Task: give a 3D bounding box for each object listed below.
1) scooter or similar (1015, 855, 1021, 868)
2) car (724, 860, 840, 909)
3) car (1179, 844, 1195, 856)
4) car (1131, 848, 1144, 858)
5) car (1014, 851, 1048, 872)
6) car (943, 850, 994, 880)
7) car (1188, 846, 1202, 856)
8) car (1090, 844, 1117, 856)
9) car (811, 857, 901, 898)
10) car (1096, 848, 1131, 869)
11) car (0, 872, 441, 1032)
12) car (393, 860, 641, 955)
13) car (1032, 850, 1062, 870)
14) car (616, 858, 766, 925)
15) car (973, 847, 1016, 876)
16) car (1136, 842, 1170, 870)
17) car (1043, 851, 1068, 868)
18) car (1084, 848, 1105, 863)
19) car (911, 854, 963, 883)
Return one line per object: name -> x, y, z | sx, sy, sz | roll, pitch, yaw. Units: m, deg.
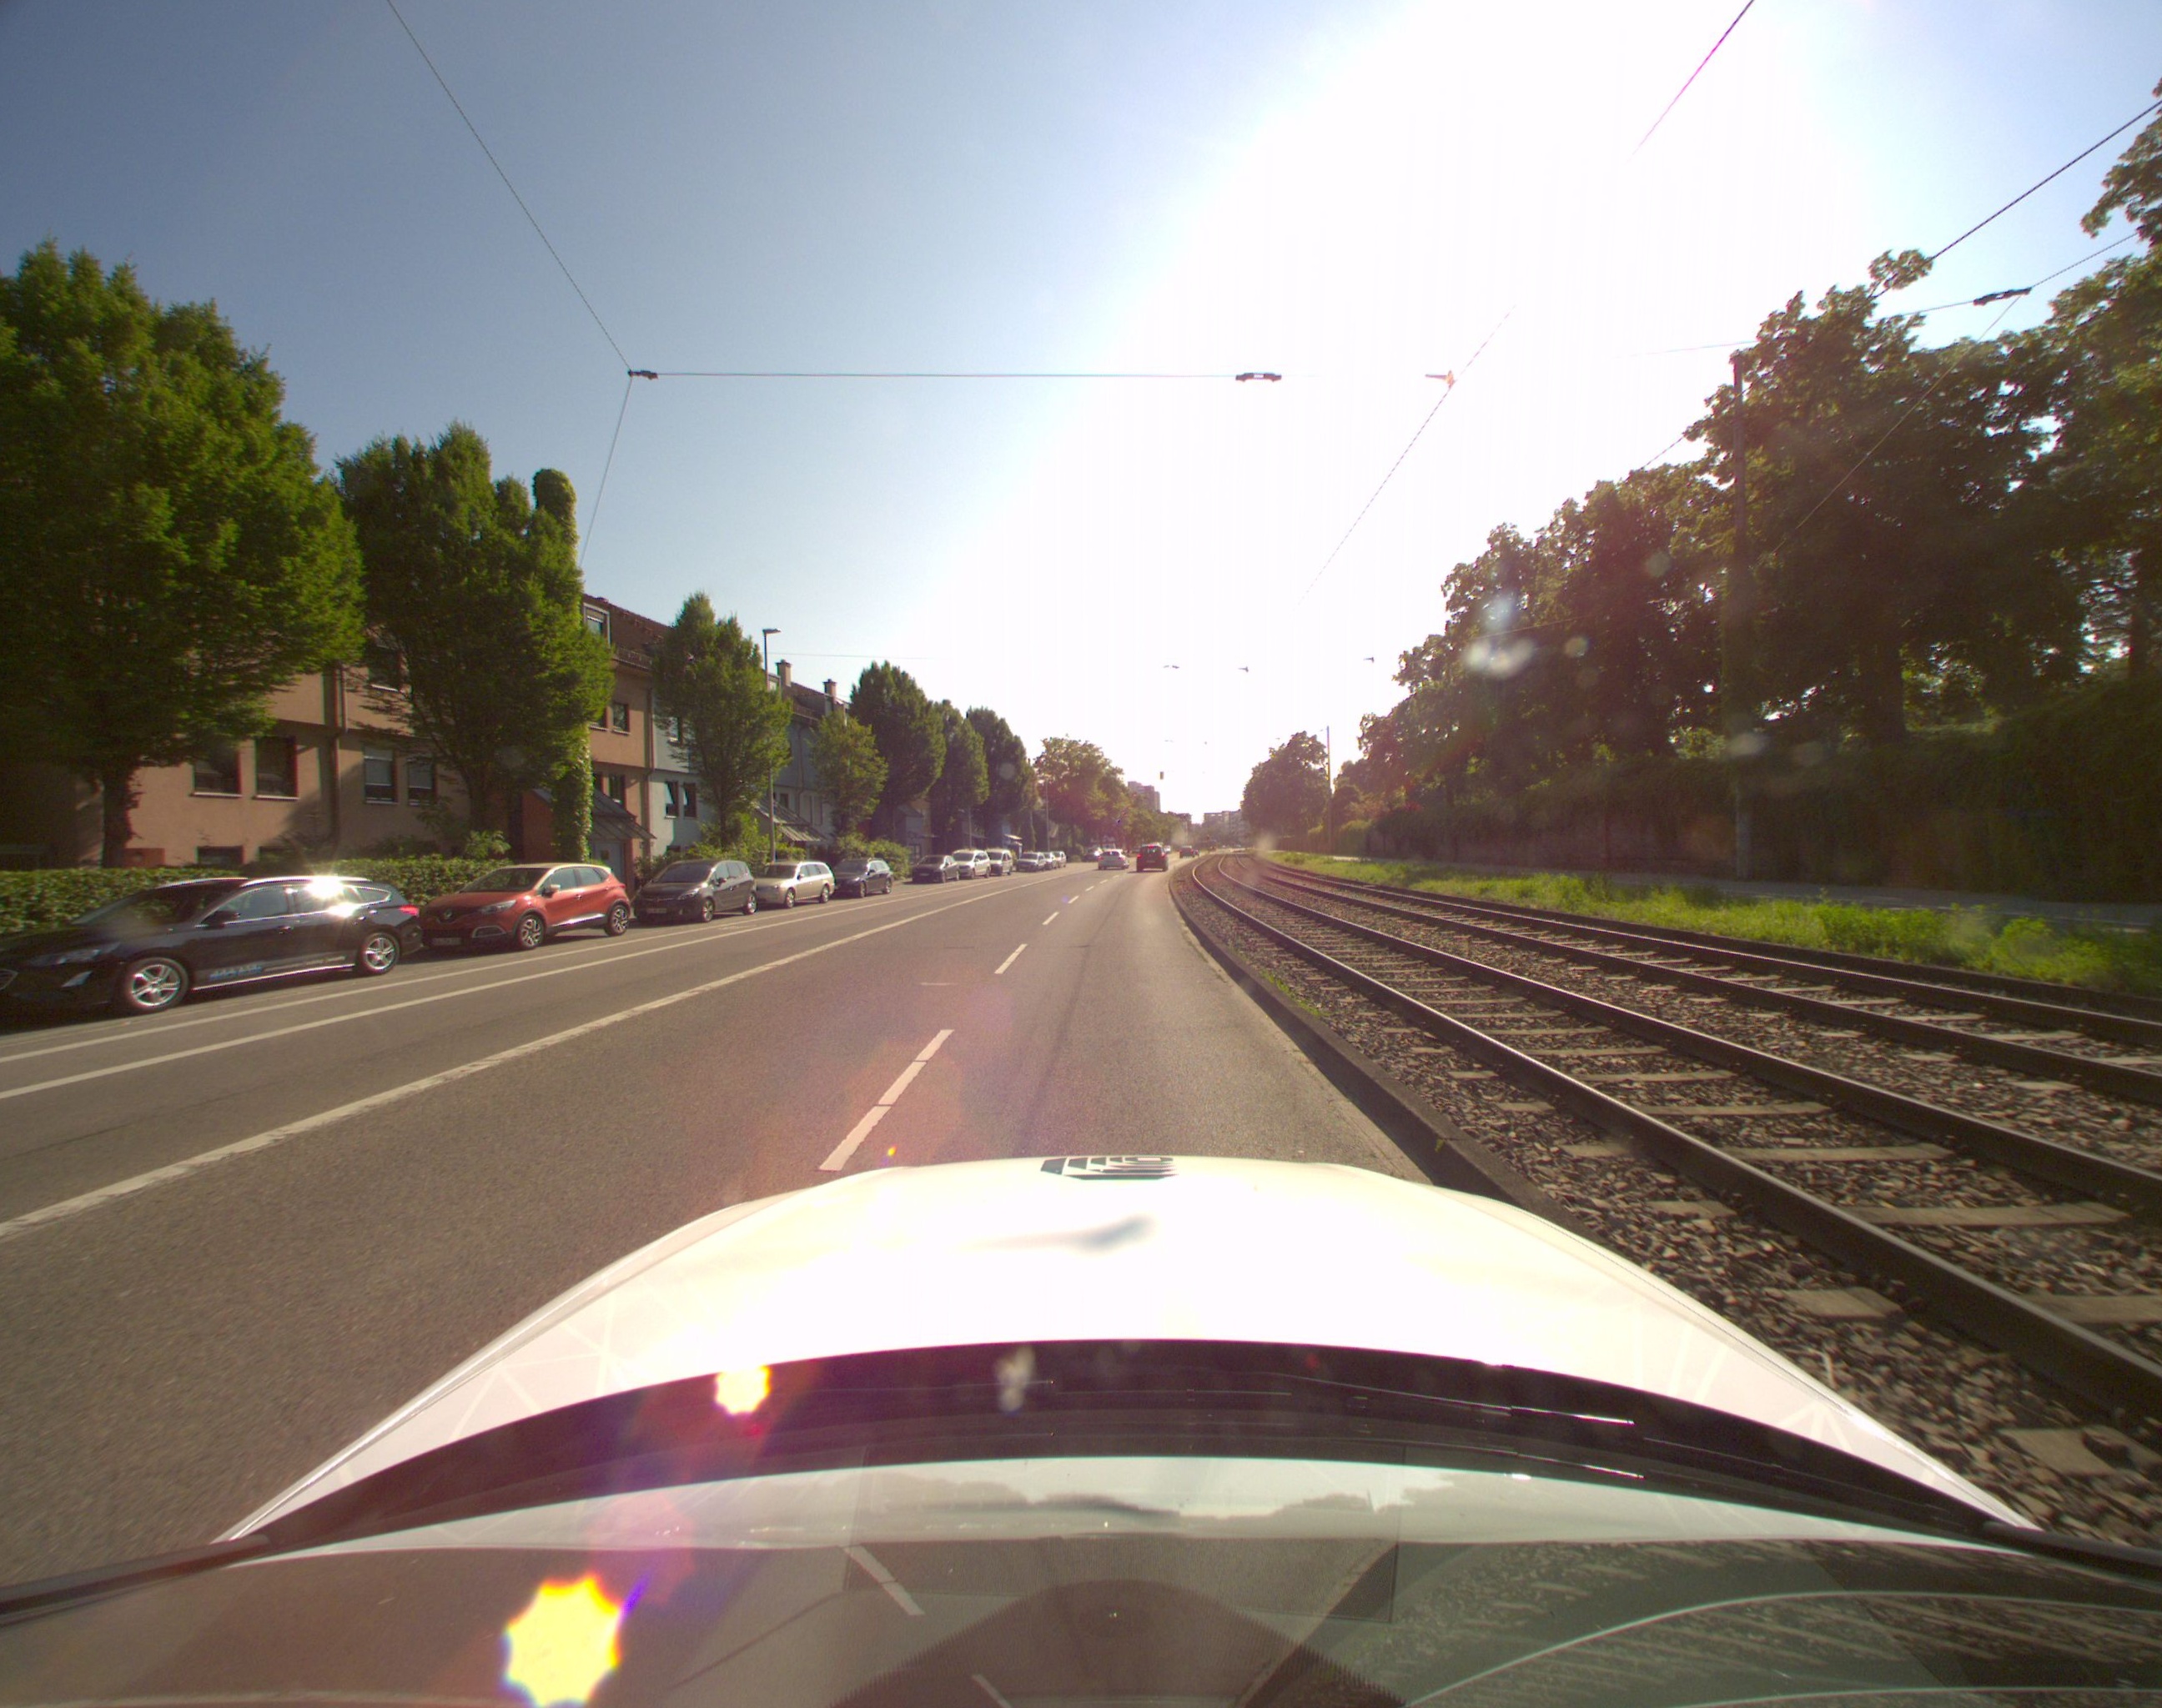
scooter or similar -> -5.661, 0.647, 73.025 | 0.292, 1.153, 1.044 | -2, 0, 6
car -> -9.806, 0.949, 27.170 | 1.704, 1.471, 4.851 | 0, 0, 5
car -> 13.327, -0.552, 101.946 | 1.800, 1.449, 4.011 | 0, 1, 10
car -> 10.033, -0.202, 145.106 | 1.720, 1.657, 4.013 | -2, 0, 12
car -> -3.997, 0.573, 65.679 | 1.752, 1.539, 3.993 | 3, 1, 10
car -> -6.774, 0.622, 49.633 | 1.658, 1.701, 4.838 | 0, 0, 10
car -> 16.656, -0.423, 118.908 | 1.799, 1.449, 4.013 | 0, 1, 11
car -> 4.701, -0.820, 169.498 | 5.342, 2.423, 2.094 | -2, 0, 10
car -> -8.980, 0.896, 33.010 | 1.700, 1.472, 4.920 | 1, 0, 8
car -> 2.264, 0.307, 55.908 | 1.853, 1.348, 4.012 | -1, 0, 10
car -> -10.984, 1.040, 10.425 | 1.645, 1.424, 4.717 | -2, 0, 3
car -> -10.728, 0.927, 15.936 | 1.755, 1.574, 4.165 | -1, 0, 3
car -> -2.929, 0.482, 70.491 | 1.739, 1.510, 4.766 | 3, 1, 8
car -> -10.185, 0.910, 21.673 | 1.755, 1.574, 4.301 | 1, 0, 2
car -> -5.880, 0.461, 55.812 | 1.753, 1.845, 4.591 | 3, 1, 8
car -> 4.477, 0.142, 50.436 | 1.801, 1.644, 4.010 | -1, 0, 9
car -> -2.380, 0.470, 75.806 | 1.592, 1.494, 3.519 | 3, 1, 9
car -> 1.659, 0.202, 97.051 | 1.701, 1.694, 4.435 | -2, 0, 11
car -> -7.798, 0.773, 44.326 | 1.607, 1.465, 4.067 | 0, 0, 8
